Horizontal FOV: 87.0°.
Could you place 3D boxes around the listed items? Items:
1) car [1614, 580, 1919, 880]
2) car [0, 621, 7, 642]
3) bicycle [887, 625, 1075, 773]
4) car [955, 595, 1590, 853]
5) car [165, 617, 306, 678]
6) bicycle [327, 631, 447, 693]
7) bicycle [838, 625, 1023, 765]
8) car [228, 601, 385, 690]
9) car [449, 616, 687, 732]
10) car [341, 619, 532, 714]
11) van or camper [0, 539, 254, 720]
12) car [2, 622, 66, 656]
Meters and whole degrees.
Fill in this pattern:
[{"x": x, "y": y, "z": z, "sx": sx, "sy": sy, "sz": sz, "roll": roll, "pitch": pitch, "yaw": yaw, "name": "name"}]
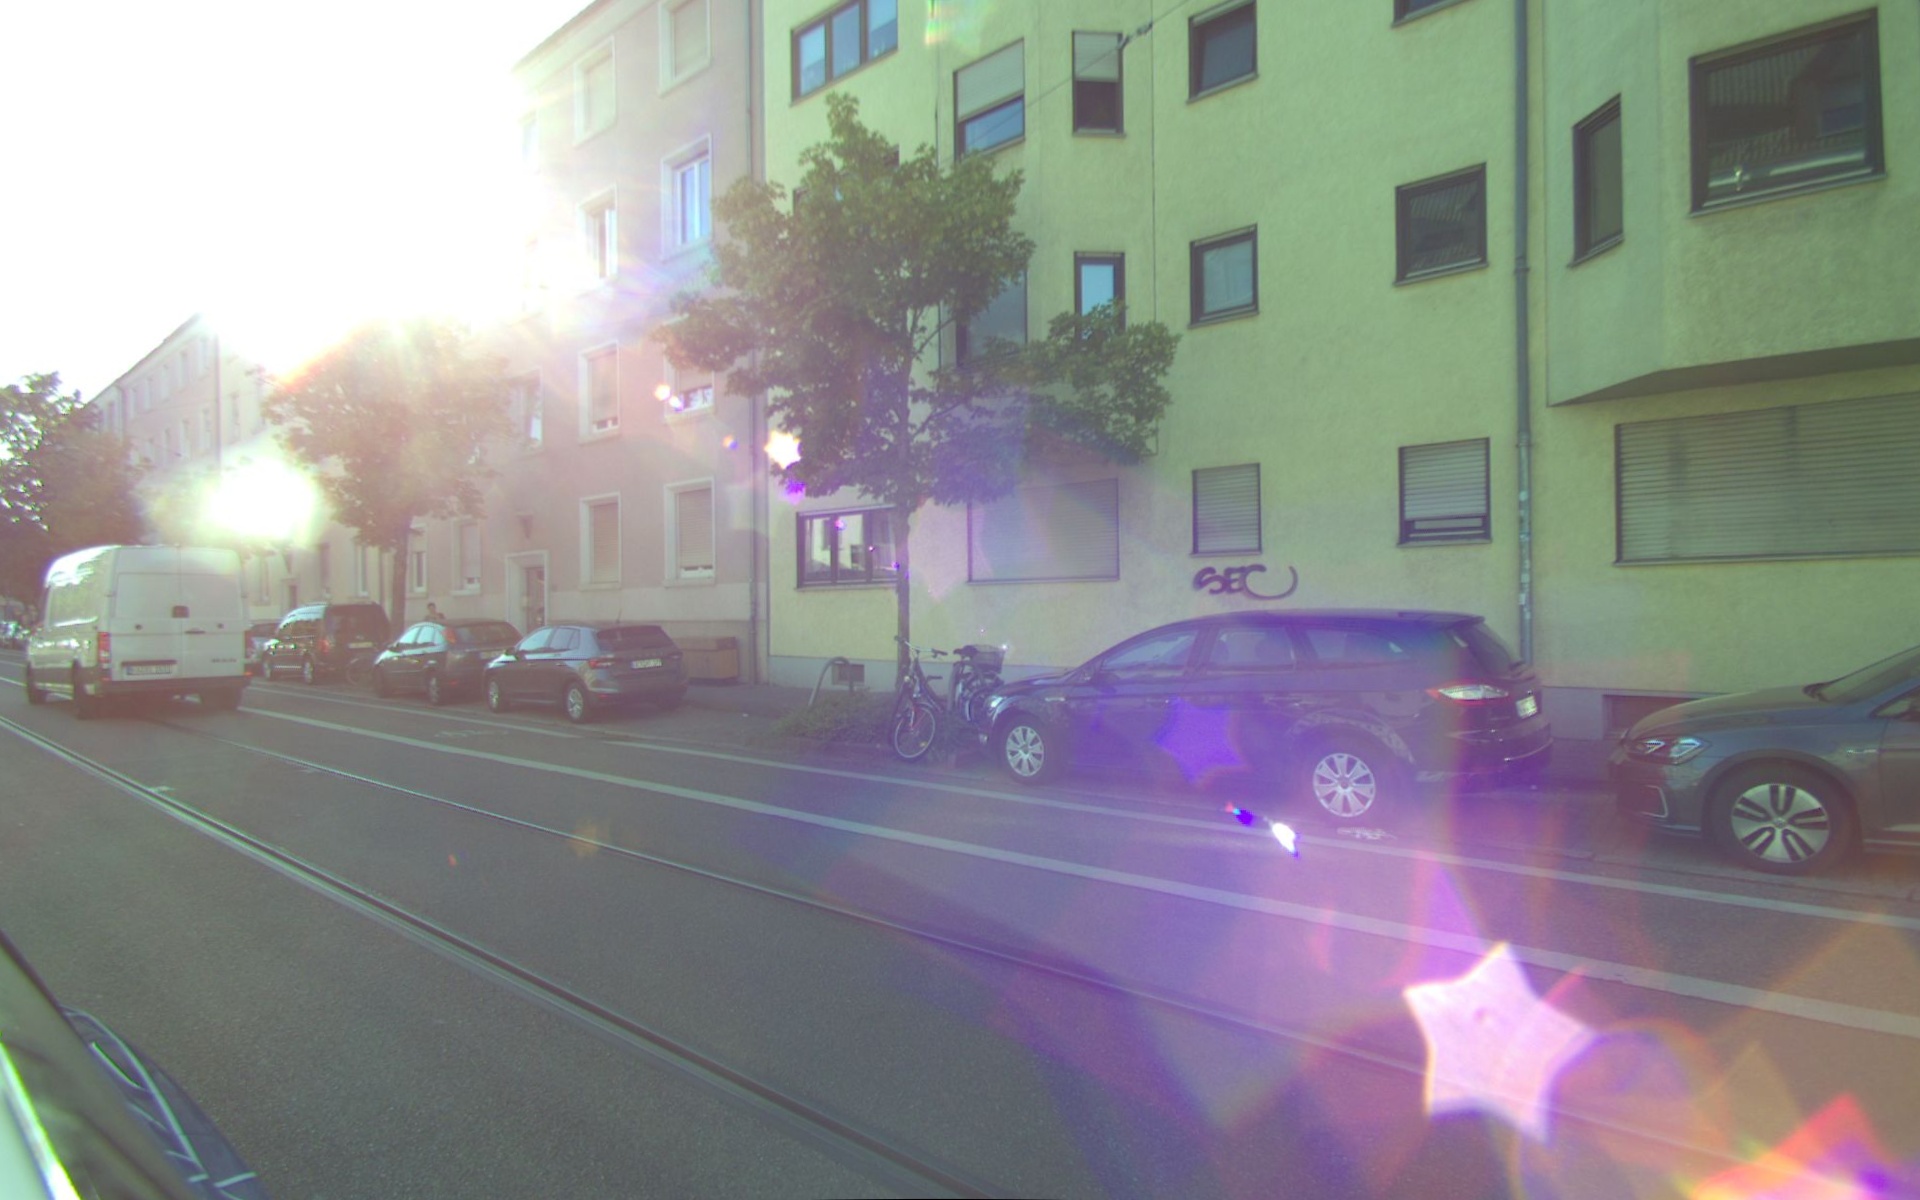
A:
[{"x": 6.084, "y": 0.656, "z": 5.462, "sx": 4.124, "sy": 1.554, "sz": 1.718, "roll": -1, "pitch": 0, "yaw": 39, "name": "car"}, {"x": -71.784, "y": 2.342, "z": 74.768, "sx": 3.408, "sy": 1.556, "sz": 1.645, "roll": -1, "pitch": 0, "yaw": 40, "name": "car"}, {"x": 0.279, "y": 0.969, "z": 10.750, "sx": 0.699, "sy": 1.344, "sz": 2.269, "roll": -1, "pitch": 0, "yaw": 40, "name": "bicycle"}, {"x": 2.295, "y": 0.788, "z": 8.398, "sx": 4.732, "sy": 1.554, "sz": 1.746, "roll": -1, "pitch": 0, "yaw": 42, "name": "car"}, {"x": -19.850, "y": 1.252, "z": 27.654, "sx": 4.849, "sy": 1.484, "sz": 1.749, "roll": -1, "pitch": 0, "yaw": 37, "name": "car"}, {"x": -12.392, "y": 1.313, "z": 21.933, "sx": 0.745, "sy": 1.113, "sz": 2.091, "roll": -1, "pitch": 2, "yaw": 39, "name": "bicycle"}, {"x": -0.266, "y": 0.977, "z": 11.238, "sx": 0.699, "sy": 1.344, "sz": 2.269, "roll": -1, "pitch": 0, "yaw": 40, "name": "bicycle"}, {"x": -15.618, "y": 1.039, "z": 24.109, "sx": 4.418, "sy": 1.859, "sz": 1.748, "roll": -1, "pitch": 2, "yaw": 39, "name": "car"}, {"x": -6.262, "y": 1.070, "z": 15.965, "sx": 4.039, "sy": 1.484, "sz": 1.747, "roll": -1, "pitch": 2, "yaw": 40, "name": "car"}, {"x": -9.931, "y": 1.159, "z": 19.067, "sx": 4.179, "sy": 1.484, "sz": 1.747, "roll": -1, "pitch": 2, "yaw": 41, "name": "car"}, {"x": -14.718, "y": 0.473, "z": 17.460, "sx": 6.827, "sy": 2.572, "sz": 2.346, "roll": -1, "pitch": 0, "yaw": 39, "name": "van or camper"}, {"x": -45.069, "y": 1.873, "z": 49.227, "sx": 4.042, "sy": 1.562, "sz": 1.668, "roll": -1, "pitch": 0, "yaw": 38, "name": "car"}]
